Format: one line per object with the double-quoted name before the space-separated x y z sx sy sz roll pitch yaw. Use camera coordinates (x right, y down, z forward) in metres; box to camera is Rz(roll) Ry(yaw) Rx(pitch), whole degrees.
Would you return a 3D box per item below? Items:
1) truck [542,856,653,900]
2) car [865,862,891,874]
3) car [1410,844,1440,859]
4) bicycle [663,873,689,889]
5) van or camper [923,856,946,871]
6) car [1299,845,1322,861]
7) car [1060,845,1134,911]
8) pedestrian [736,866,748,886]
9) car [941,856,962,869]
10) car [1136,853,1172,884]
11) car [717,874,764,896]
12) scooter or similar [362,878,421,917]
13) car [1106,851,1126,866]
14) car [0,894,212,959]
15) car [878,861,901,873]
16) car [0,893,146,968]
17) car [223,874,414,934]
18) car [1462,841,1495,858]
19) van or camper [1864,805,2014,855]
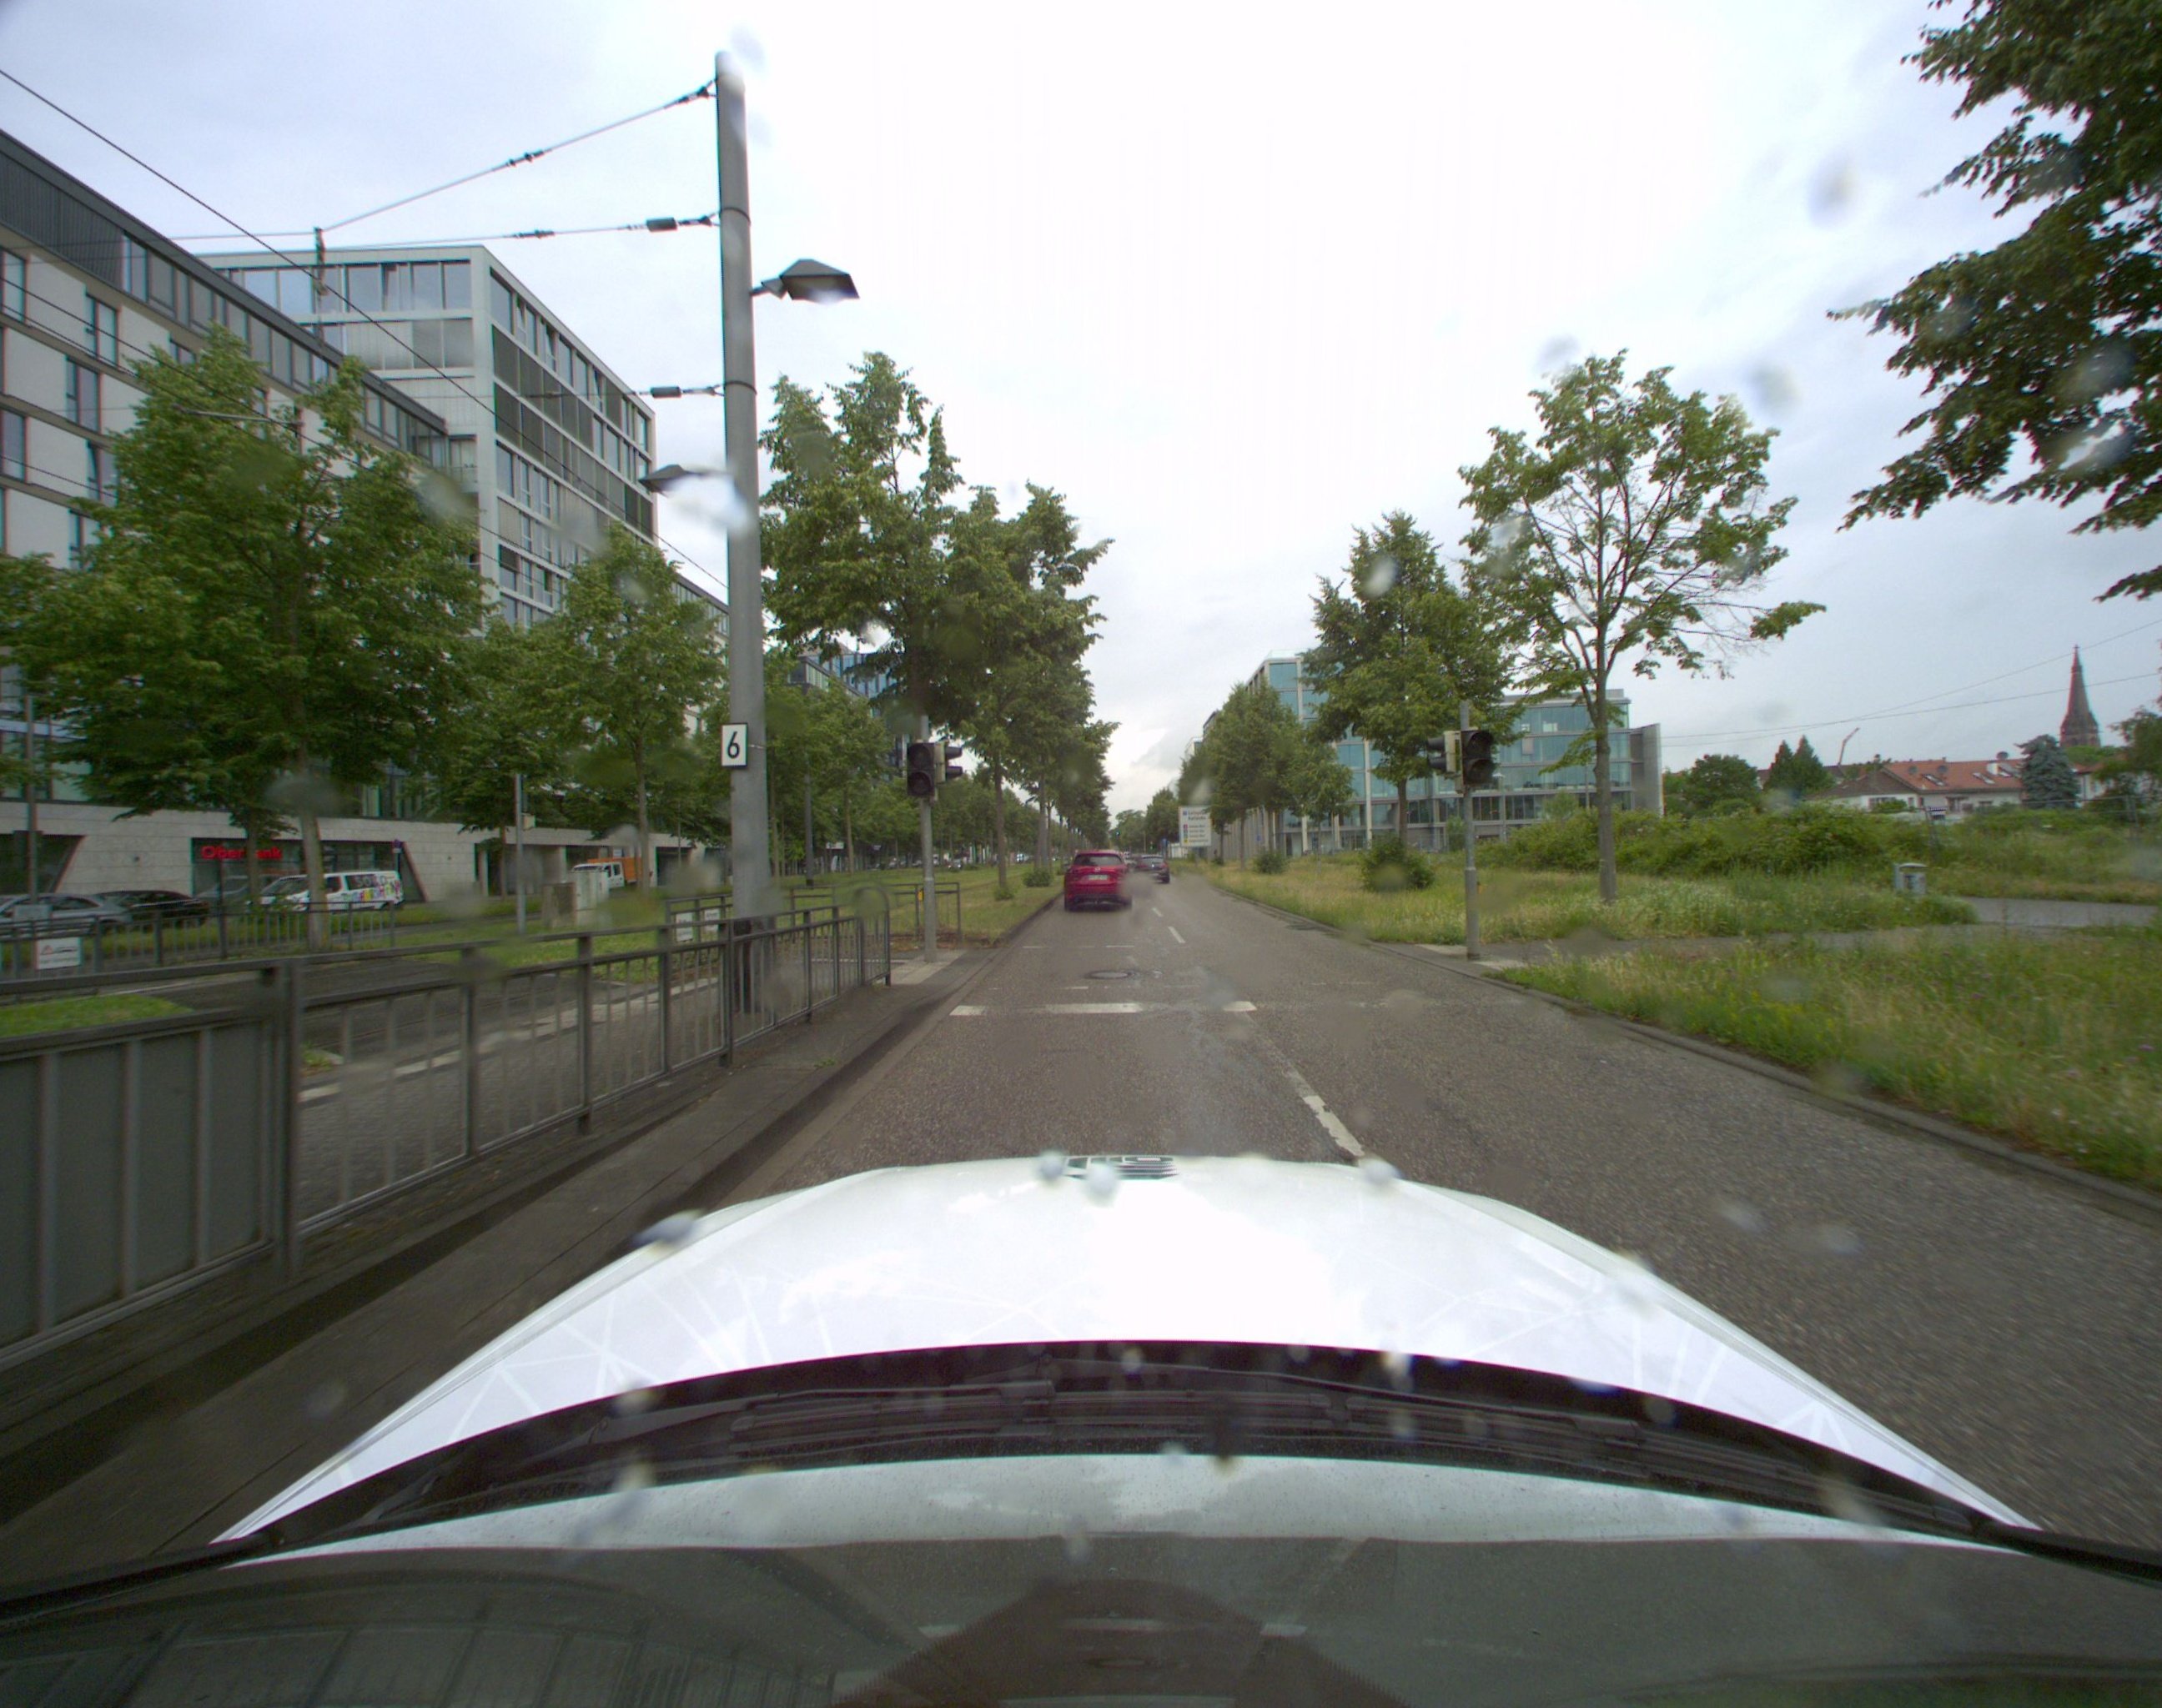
"truck" -27.513 1.302 46.720 2.417 2.291 6.311 -2 0 2
"car" -24.888 1.725 100.053 1.986 1.378 4.002 -1 0 2
"car" 35.977 -0.268 85.189 1.776 1.475 4.239 -1 0 7
"bicycle" -25.042 1.666 50.407 0.596 0.945 1.760 -2 0 5
"van or camper" -23.897 1.536 133.164 2.424 2.315 5.853 -1 0 2
"car" 24.537 -0.088 87.074 1.844 1.581 4.010 -1 0 9
"car" 0.467 0.626 23.160 1.891 1.677 4.001 -1 0 1
"pedestrian" -35.156 2.298 84.505 0.789 1.981 0.858 -1 0 10
"car" -17.181 1.159 108.210 1.987 1.656 3.700 -2 0 1
"car" 3.738 0.703 41.999 1.735 1.465 3.786 -1 0 5
"car" -26.469 2.382 63.473 1.848 1.465 3.990 -2 0 1
"scooter or similar" -34.179 2.165 40.389 2.119 1.825 0.884 -1 0 -3
"car" 3.612 0.484 85.029 1.961 1.437 4.552 -1 0 1
"car" -31.927 2.307 26.841 1.986 1.693 4.193 -2 0 1
"car" -25.037 1.687 106.641 1.986 1.378 4.002 -1 0 2
"car" -27.707 1.988 20.913 2.137 1.712 4.465 -2 0 1
"car" -27.675 1.733 29.874 1.986 1.852 5.166 -2 0 1
"car" 40.993 -0.464 84.160 1.845 1.601 4.008 -1 0 7
"van or camper" 56.654 -1.493 54.063 2.895 2.994 6.780 -2 0 2
